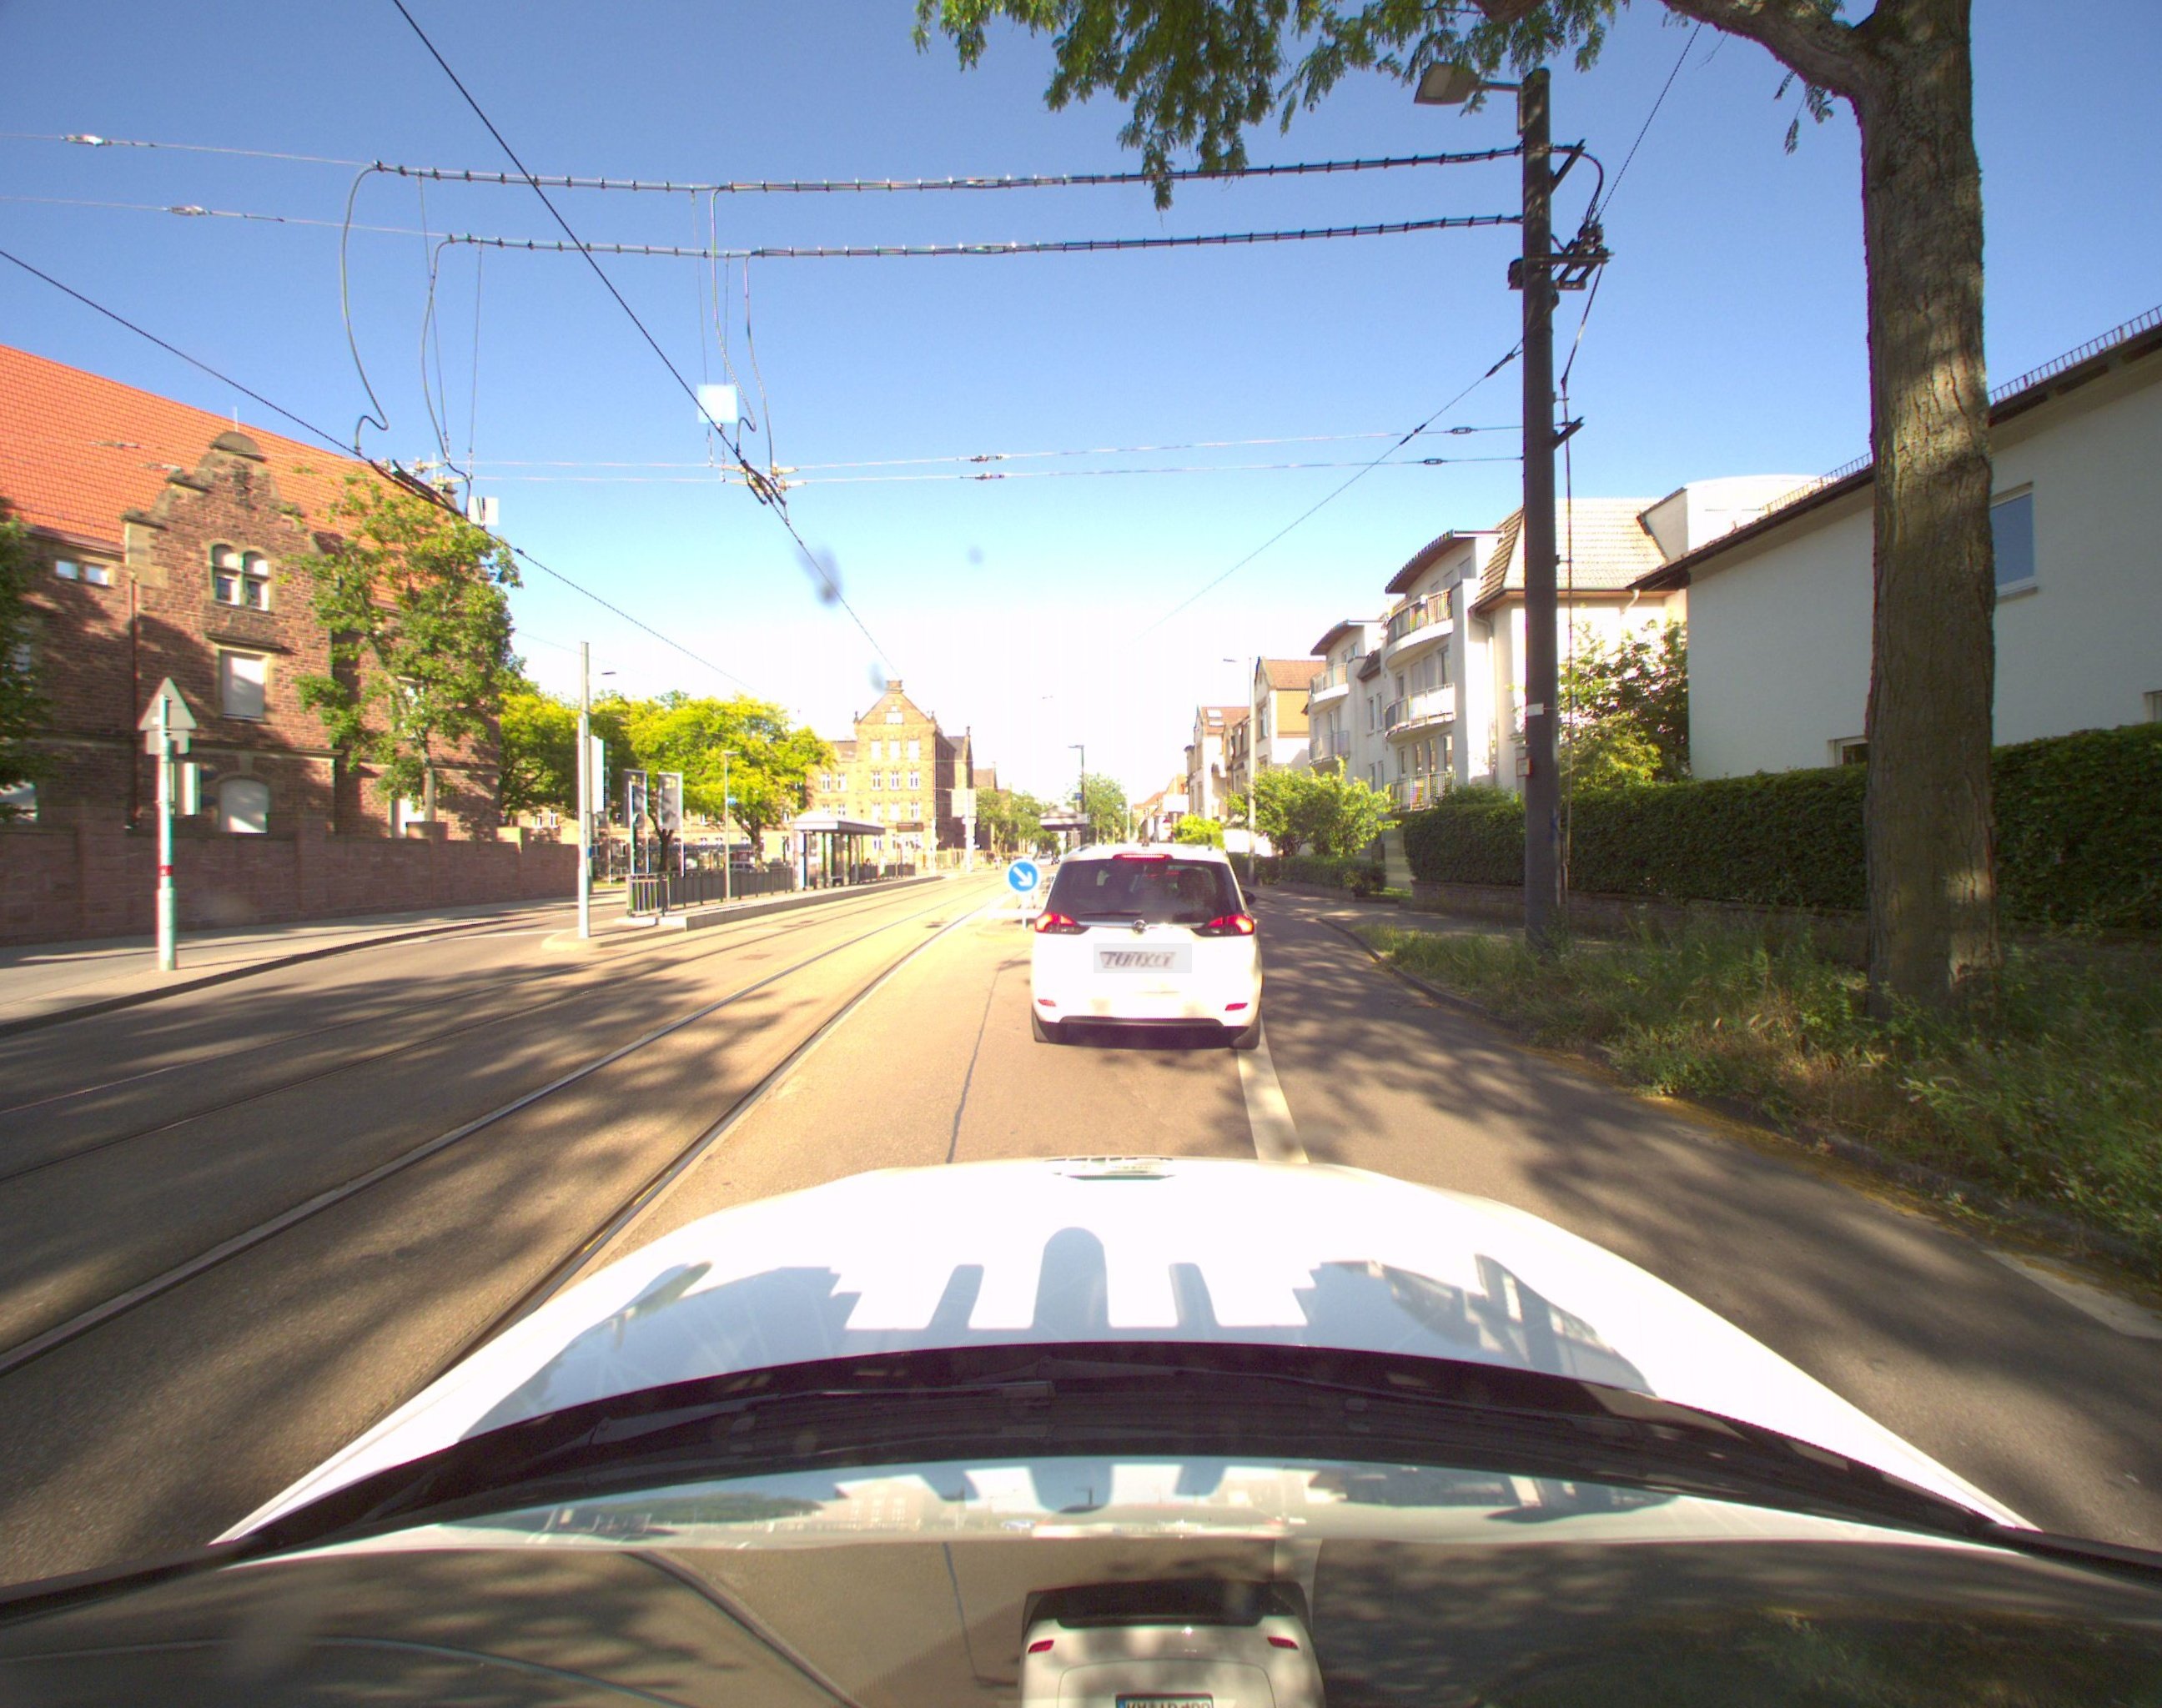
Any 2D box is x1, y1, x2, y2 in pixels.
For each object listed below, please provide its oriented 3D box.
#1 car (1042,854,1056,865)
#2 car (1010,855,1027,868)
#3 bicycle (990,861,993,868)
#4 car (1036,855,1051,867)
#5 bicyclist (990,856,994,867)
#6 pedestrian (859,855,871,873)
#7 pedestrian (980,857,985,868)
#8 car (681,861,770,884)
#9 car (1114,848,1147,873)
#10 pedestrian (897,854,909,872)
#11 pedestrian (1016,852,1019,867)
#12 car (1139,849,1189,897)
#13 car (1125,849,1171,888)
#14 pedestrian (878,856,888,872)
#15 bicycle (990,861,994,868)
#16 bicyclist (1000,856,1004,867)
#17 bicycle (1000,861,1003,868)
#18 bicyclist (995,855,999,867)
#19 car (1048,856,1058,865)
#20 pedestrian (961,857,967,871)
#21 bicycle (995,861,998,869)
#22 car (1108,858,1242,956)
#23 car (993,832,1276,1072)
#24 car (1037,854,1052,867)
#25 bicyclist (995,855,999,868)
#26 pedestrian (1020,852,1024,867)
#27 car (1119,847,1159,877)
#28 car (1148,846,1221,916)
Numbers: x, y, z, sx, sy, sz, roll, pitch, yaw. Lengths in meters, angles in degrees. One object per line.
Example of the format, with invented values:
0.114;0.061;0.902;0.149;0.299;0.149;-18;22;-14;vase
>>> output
-5.141;0.906;131.512;1.987;1.629;4.000;-1;0;0;car
-8.202;0.922;107.474;1.989;1.629;3.996;-1;0;-3;car
-12.689;1.525;115.630;0.343;0.950;0.996;0;-1;-1;bicycle
-5.308;0.950;114.739;1.989;1.629;3.996;-1;0;-3;car
-12.460;1.041;113.754;0.443;1.553;0.495;-1;0;-2;bicyclist
-20.102;0.907;75.728;0.839;1.691;1.029;0;-1;1;pedestrian
-15.540;1.317;128.383;0.733;1.714;0.753;0;-1;-4;pedestrian
-32.967;1.702;75.691;6.927;1.921;2.992;-1;0;0;car
3.097;0.383;51.839;1.986;1.503;4.002;-1;0;2;car
-17.074;0.897;78.147;0.892;1.684;1.029;0;-1;1;pedestrian
-8.780;0.773;112.367;0.443;2.013;0.495;-1;0;-2;pedestrian
2.942;0.634;29.315;1.630;1.601;3.859;-1;0;4;car
2.928;0.609;36.245;1.824;1.579;4.012;-1;0;2;car
-19.265;0.965;79.283;0.799;1.588;0.934;0;-1;-1;pedestrian
-12.432;1.509;113.793;0.343;0.950;0.996;0;-1;-1;bicycle
-10.673;0.995;109.597;0.443;1.553;0.495;-1;0;-2;bicyclist
-10.672;1.462;109.602;0.343;0.950;0.996;0;-1;-1;bicycle
-10.989;0.977;107.018;0.443;1.553;0.495;-1;0;-2;bicyclist
-5.284;1.160;153.656;1.989;1.629;3.984;-1;0;-3;car
-14.788;1.244;102.730;0.733;1.714;0.705;0;-1;-5;pedestrian
-10.725;1.413;103.517;0.343;0.950;1.160;0;-1;-1;bicycle
1.531;0.791;14.061;1.944;1.397;4.005;-1;0;4;car
0.644;0.684;7.699;1.982;1.644;4.003;0;0;8;car
-4.826;0.890;107.616;1.989;1.629;3.996;-1;0;-3;car
-10.717;0.947;103.727;0.443;1.553;0.742;-1;0;-2;bicyclist
-8.169;0.770;112.642;0.443;2.013;0.495;-1;0;-2;pedestrian
3.123;0.412;44.371;1.986;1.503;4.002;-1;0;2;car
2.572;0.637;20.889;1.630;1.601;3.859;-1;0;4;car
